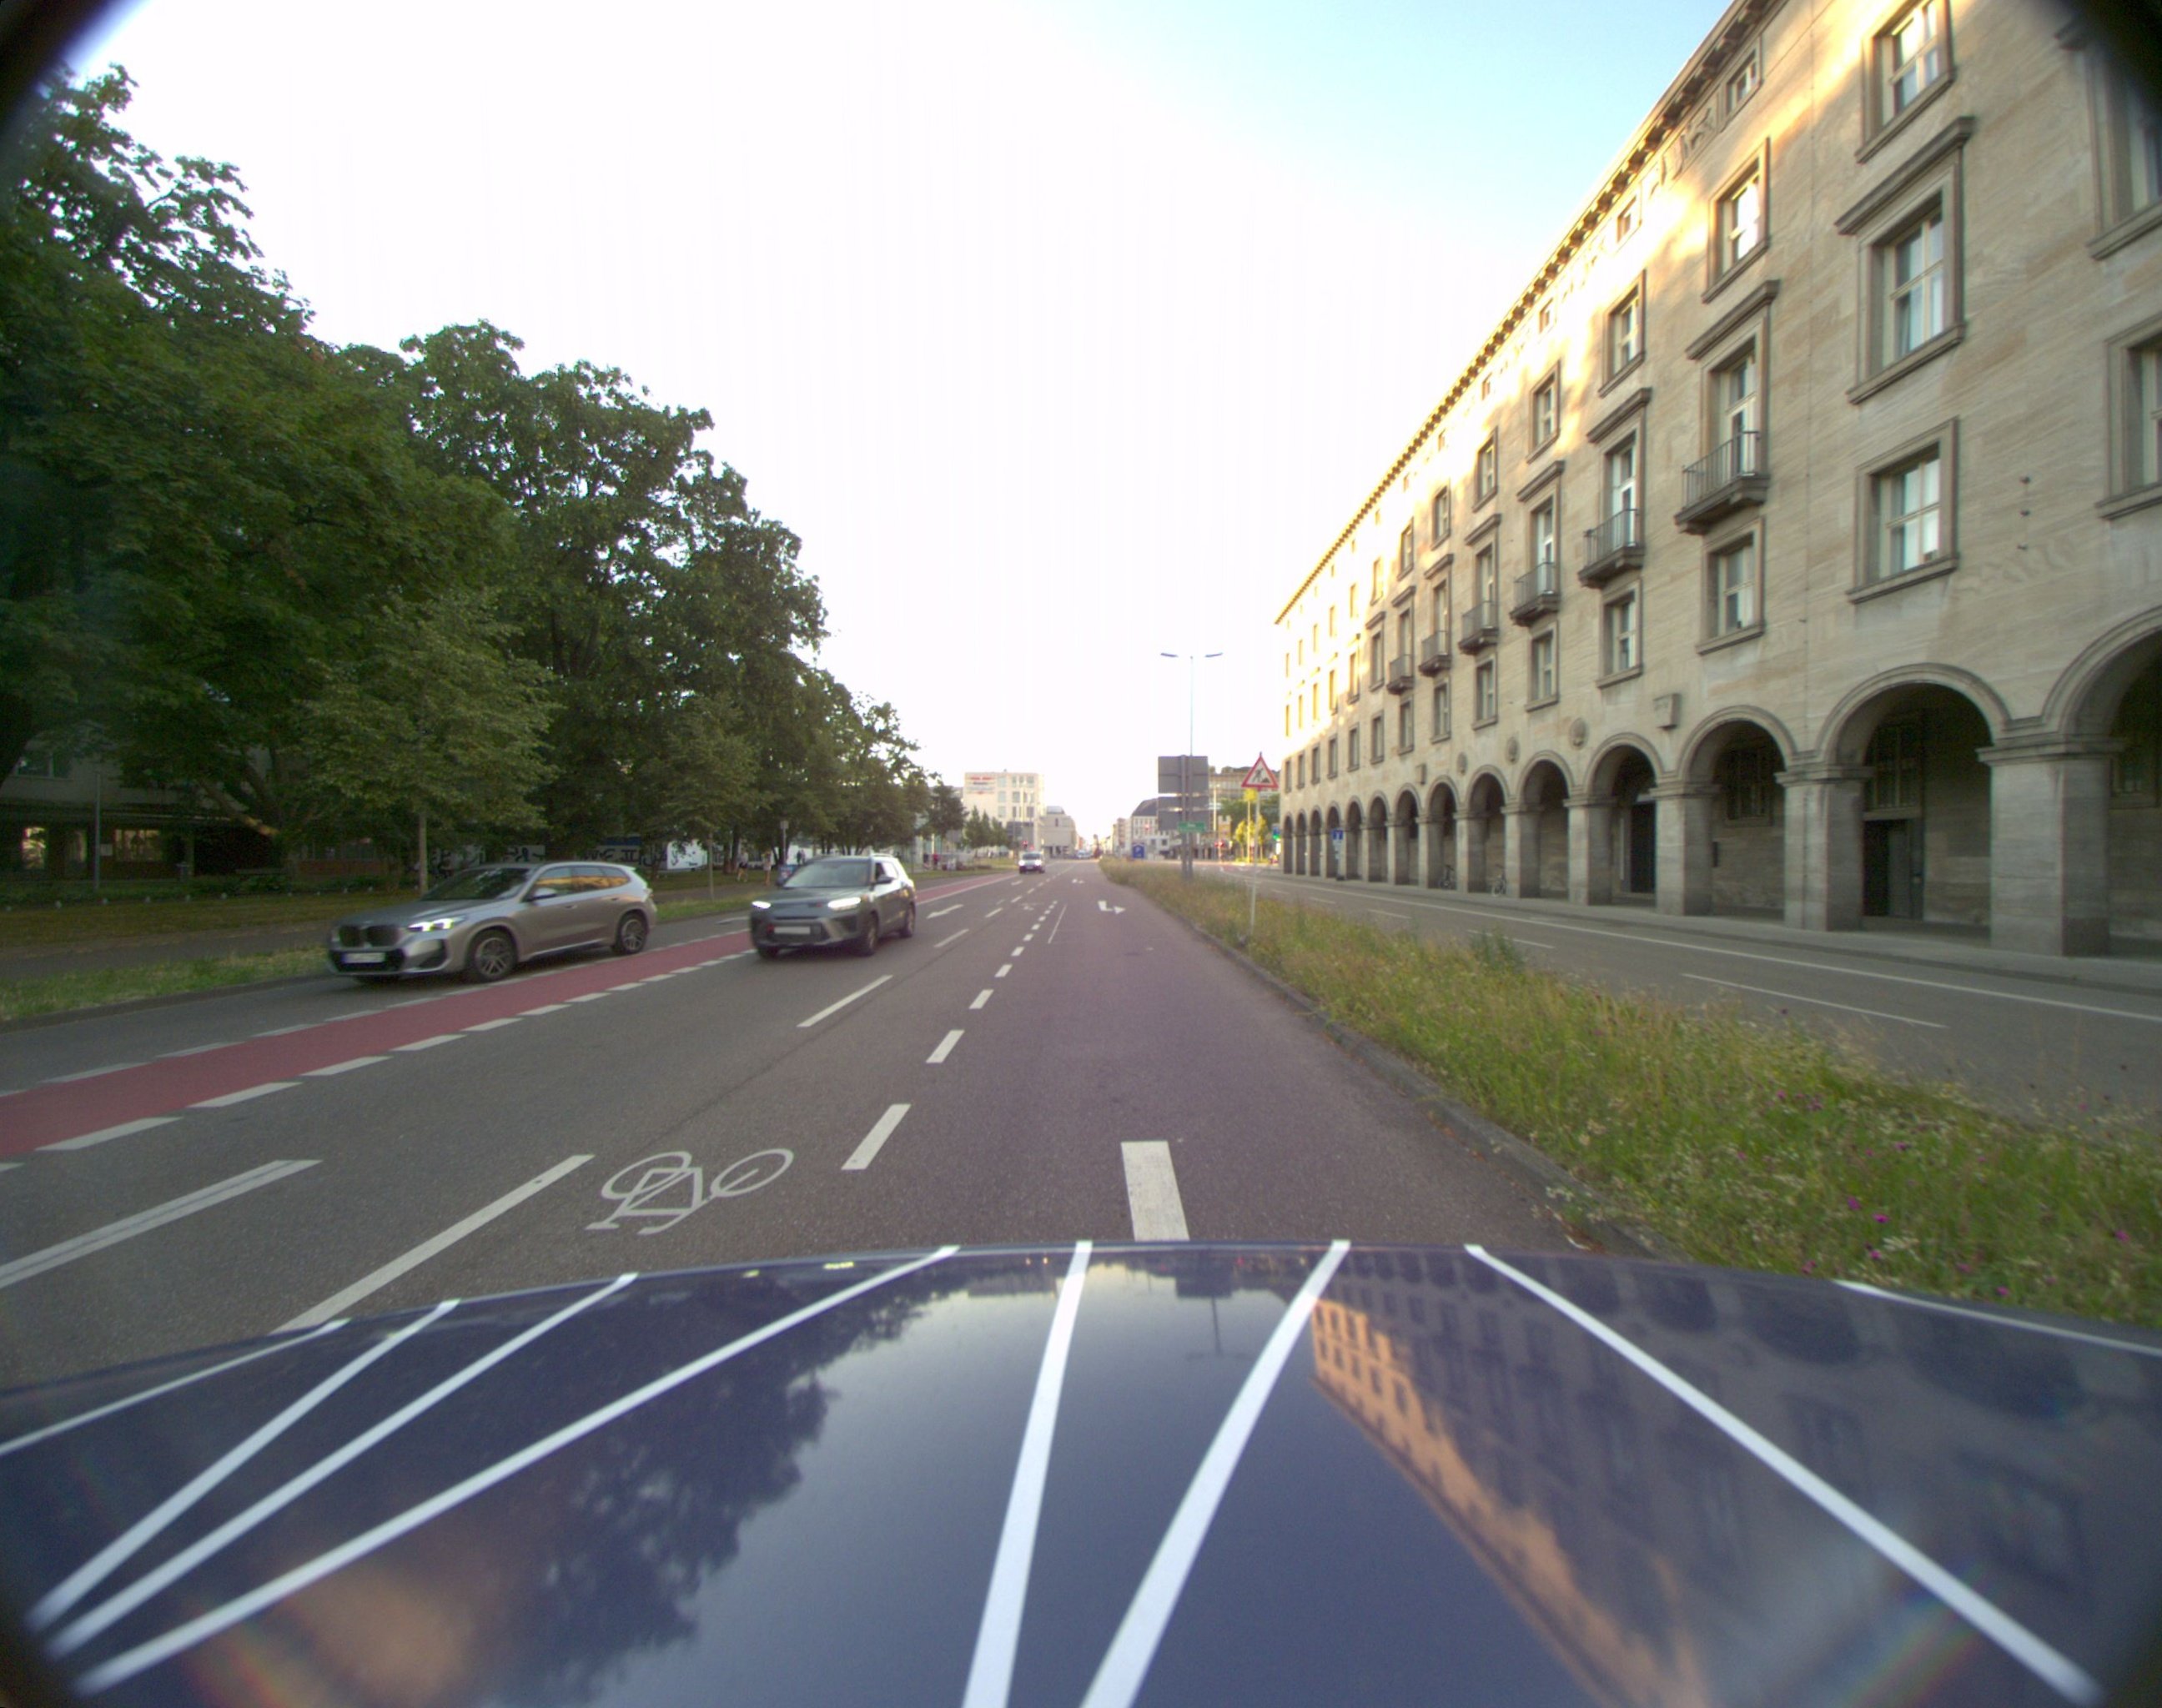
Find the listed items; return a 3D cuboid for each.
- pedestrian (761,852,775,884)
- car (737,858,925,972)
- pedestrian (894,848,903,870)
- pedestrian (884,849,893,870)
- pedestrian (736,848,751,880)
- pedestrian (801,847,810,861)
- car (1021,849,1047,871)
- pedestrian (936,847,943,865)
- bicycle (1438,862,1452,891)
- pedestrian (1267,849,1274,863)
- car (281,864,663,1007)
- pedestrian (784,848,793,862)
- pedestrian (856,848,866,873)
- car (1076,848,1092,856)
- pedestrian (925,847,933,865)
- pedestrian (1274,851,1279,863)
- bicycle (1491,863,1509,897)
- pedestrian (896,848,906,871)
[{"bbox_3d":[-15.460,0.683,37.544,0.500,1.592,0.365,0,1,1],"label":"pedestrian"},{"bbox_3d":[-4.089,0.898,13.213,1.782,1.617,4.215,-1,0,1],"label":"car"},{"bbox_3d":[-14.340,0.387,59.695,0.509,1.720,0.719,0,1,1],"label":"pedestrian"},{"bbox_3d":[-15.180,0.429,59.933,0.519,1.720,0.719,0,1,1],"label":"pedestrian"},{"bbox_3d":[-16.577,0.493,37.319,0.500,1.592,0.522,0,1,1],"label":"pedestrian"},{"bbox_3d":[-26.930,0.031,74.351,0.662,1.347,0.559,0,1,1],"label":"pedestrian"},{"bbox_3d":[-3.707,0.462,60.601,1.782,1.676,4.215,0,0,1],"label":"car"},{"bbox_3d":[-13.579,0.190,72.877,0.638,1.747,0.506,0,1,1],"label":"pedestrian"},{"bbox_3d":[15.464,0.945,32.297,0.513,1.172,2.427,0,0,25],"label":"bicycle"},{"bbox_3d":[23.116,0.248,92.716,0.638,1.747,0.506,0,1,1],"label":"pedestrian"},{"bbox_3d":[-8.564,1.024,11.331,1.825,1.612,4.338,-2,0,7],"label":"car"},{"bbox_3d":[-28.598,0.136,74.310,0.631,1.347,0.681,0,1,1],"label":"pedestrian"},{"bbox_3d":[-15.092,0.426,52.138,0.509,1.720,0.719,0,1,1],"label":"pedestrian"},{"bbox_3d":[0.880,-0.674,217.358,1.994,2.297,5.100,0,1,36],"label":"car"},{"bbox_3d":[-14.585,0.226,72.953,0.638,1.747,0.506,0,1,1],"label":"pedestrian"},{"bbox_3d":[23.861,0.381,92.761,0.526,1.532,0.390,0,1,1],"label":"pedestrian"},{"bbox_3d":[15.372,0.934,27.849,0.513,1.115,2.427,1,1,30],"label":"bicycle"},{"bbox_3d":[-13.380,0.396,56.536,0.558,1.729,0.555,0,1,1],"label":"pedestrian"}]
